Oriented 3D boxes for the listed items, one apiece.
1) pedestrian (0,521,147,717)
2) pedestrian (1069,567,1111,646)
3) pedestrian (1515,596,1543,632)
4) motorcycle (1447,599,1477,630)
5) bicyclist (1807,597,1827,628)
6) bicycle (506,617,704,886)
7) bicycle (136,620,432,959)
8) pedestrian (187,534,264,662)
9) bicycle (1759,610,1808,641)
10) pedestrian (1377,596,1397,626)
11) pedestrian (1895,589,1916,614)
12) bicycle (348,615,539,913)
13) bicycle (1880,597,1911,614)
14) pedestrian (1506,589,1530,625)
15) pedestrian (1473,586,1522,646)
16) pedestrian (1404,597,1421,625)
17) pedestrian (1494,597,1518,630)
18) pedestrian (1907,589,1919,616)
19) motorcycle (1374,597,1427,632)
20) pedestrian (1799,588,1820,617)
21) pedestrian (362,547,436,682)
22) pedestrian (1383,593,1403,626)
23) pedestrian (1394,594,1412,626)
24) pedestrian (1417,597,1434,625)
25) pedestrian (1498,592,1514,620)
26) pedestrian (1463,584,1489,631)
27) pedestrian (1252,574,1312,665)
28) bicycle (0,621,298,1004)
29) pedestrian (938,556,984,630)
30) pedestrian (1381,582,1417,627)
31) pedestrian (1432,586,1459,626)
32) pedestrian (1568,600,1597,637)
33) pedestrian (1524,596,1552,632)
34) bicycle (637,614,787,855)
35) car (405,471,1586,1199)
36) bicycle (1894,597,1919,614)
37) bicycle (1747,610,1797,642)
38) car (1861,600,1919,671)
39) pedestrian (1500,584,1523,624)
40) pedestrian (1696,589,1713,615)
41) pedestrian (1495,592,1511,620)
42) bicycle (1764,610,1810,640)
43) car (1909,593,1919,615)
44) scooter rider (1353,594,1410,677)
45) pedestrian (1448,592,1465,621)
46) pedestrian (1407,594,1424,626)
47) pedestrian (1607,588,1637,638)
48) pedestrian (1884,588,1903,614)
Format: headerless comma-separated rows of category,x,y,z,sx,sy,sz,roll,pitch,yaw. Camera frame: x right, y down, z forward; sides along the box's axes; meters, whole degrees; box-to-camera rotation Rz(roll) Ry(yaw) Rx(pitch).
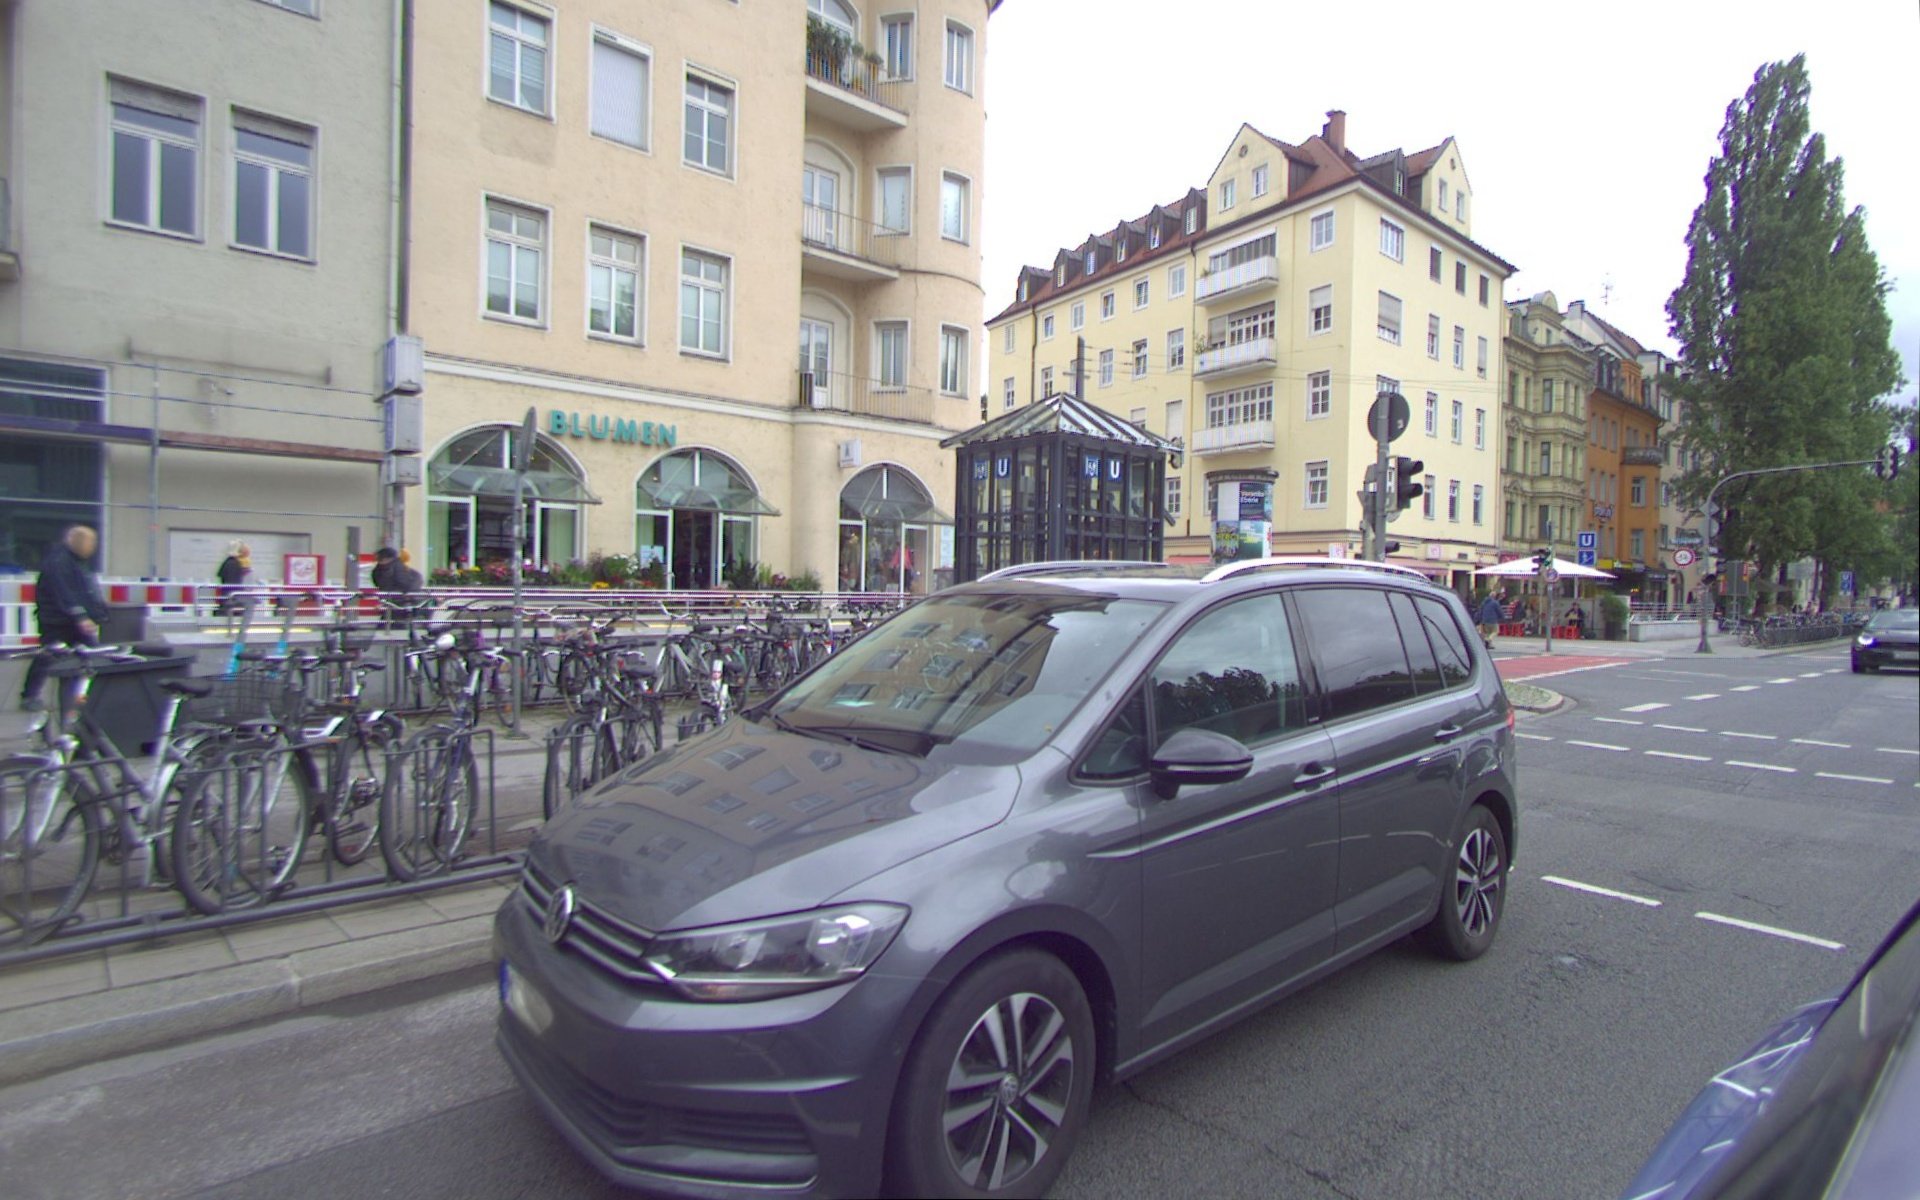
pedestrian,-8.352,0.159,9.538,0.743,1.749,0.817,2,1,-9
pedestrian,3.003,0.146,23.353,0.623,1.774,0.652,4,-1,-19
pedestrian,21.432,0.522,38.095,0.782,1.328,0.679,0,1,-41
motorcycle,19.528,0.555,39.356,1.543,1.171,0.487,0,1,-41
bicyclist,45.601,0.640,53.845,0.923,1.623,0.681,1,1,-41
bicycle,-1.873,0.718,5.590,0.537,1.172,1.806,1,1,-3
bicycle,-2.976,0.721,4.658,0.477,1.172,1.808,1,1,-12
pedestrian,-10.008,-0.043,13.787,0.745,1.671,0.752,1,2,-43
bicycle,30.328,0.921,37.315,0.341,1.008,1.841,2,2,3
pedestrian,17.259,0.425,40.890,0.691,1.197,0.515,1,1,-43
pedestrian,65.277,0.104,69.860,0.743,1.658,0.700,1,-1,6
bicycle,-2.535,0.701,5.142,0.477,1.172,1.809,1,1,-15
bicycle,64.507,0.358,69.793,0.352,1.116,1.747,1,1,-7
pedestrian,22.953,0.278,41.621,0.606,1.440,0.677,1,1,-41
pedestrian,16.416,0.487,30.919,1.045,1.777,0.937,1,1,-36
pedestrian,19.225,0.461,43.004,0.518,1.180,0.479,1,1,-43
pedestrian,21.196,0.518,39.284,0.688,1.218,0.627,0,1,-41
pedestrian,66.583,0.193,70.359,0.741,1.824,0.883,2,-1,-31
motorcycle,16.356,0.536,37.601,1.744,1.215,0.539,1,1,20
pedestrian,47.030,0.151,56.009,0.749,1.582,0.761,1,0,-40
pedestrian,-7.293,0.169,13.155,0.708,1.691,0.659,1,2,-39
pedestrian,17.783,0.387,41.566,0.691,1.308,0.515,1,1,-43
pedestrian,18.497,0.418,42.260,0.518,1.315,0.479,1,1,-43
pedestrian,19.622,0.457,42.647,0.518,1.180,0.479,1,1,-43
pedestrian,26.073,0.297,48.315,0.543,1.305,0.496,1,1,-41
pedestrian,19.167,0.278,37.595,0.752,1.716,0.762,1,1,24
pedestrian,6.209,0.356,19.556,0.803,1.712,0.838,1,1,-4
bicycle,-3.420,0.717,4.186,0.477,1.172,1.808,1,1,-11
pedestrian,0.031,-0.170,24.368,0.744,1.727,0.672,3,-1,43
pedestrian,17.265,0.163,39.803,1.020,1.704,0.838,1,1,1
pedestrian,20.165,0.247,42.029,0.772,1.653,0.711,1,1,-41
pedestrian,22.972,0.659,37.363,0.782,1.327,0.679,0,1,-41
pedestrian,22.089,0.525,38.671,0.782,1.328,0.679,0,1,-41
bicycle,-1.429,0.704,6.105,0.537,1.172,1.806,1,1,-3
car,0.629,0.598,3.946,4.625,1.667,1.775,1,1,-41
bicycle,65.316,0.387,69.752,0.353,1.116,1.743,1,1,4
bicycle,28.760,0.914,35.872,0.341,1.008,1.841,2,2,3
car,22.542,0.782,23.680,3.902,1.523,1.778,-1,1,-42
pedestrian,23.168,0.158,42.490,0.666,1.653,0.616,1,1,-41
pedestrian,51.200,0.149,69.591,0.999,1.735,0.747,1,1,-41
pedestrian,26.493,0.307,49.405,0.543,1.349,0.496,1,1,-41
bicycle,31.355,0.926,38.391,0.342,1.008,1.840,2,2,5
car,76.310,0.322,79.890,4.425,1.681,1.735,1,1,-43
scooter rider,7.406,0.610,17.797,0.632,1.406,0.701,1,1,-43
pedestrian,22.792,0.293,46.456,0.543,1.305,0.542,1,1,-41
pedestrian,18.868,0.407,41.916,0.518,1.315,0.479,1,1,-43
pedestrian,24.009,0.450,36.713,0.877,1.765,0.848,2,1,33
pedestrian,64.523,0.058,69.923,0.638,1.803,0.702,1,-1,-8
